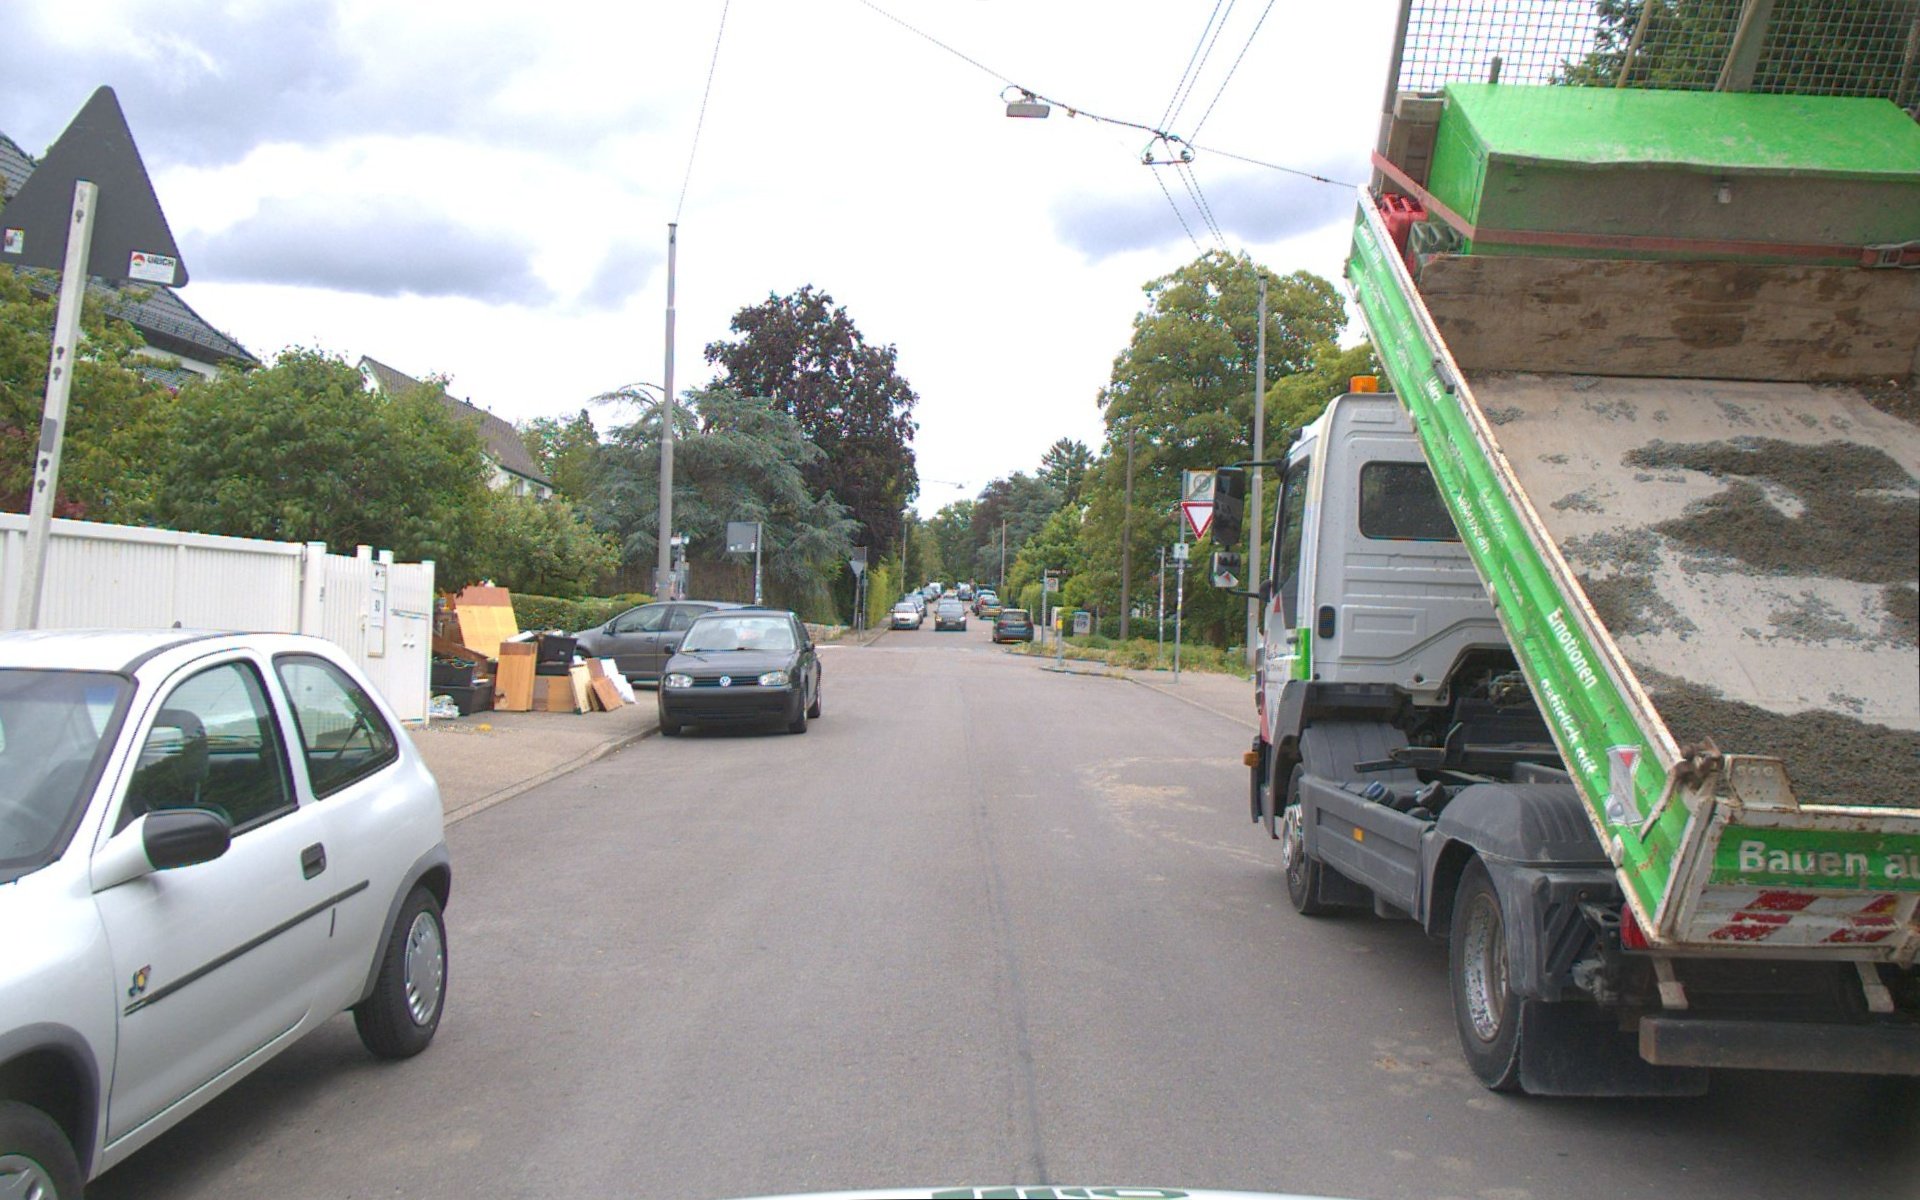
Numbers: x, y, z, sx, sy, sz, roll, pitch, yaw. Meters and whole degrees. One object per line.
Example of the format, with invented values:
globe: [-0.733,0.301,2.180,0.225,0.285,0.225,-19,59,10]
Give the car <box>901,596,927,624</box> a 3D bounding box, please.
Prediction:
car: [-2.979,0.614,107.283,1.600,1.731,3.762,2,0,-1]

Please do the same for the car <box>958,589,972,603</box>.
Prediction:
car: [0.623,-0.549,207.429,1.600,1.731,3.493,2,0,-1]

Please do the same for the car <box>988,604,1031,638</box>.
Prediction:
car: [2.277,0.963,76.806,1.743,1.515,3.999,1,0,-1]

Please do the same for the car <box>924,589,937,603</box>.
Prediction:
car: [-4.148,-0.552,232.208,1.780,1.914,3.999,3,0,-1]

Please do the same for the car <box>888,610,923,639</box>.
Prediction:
car: [-3.170,1.413,96.719,1.676,1.613,4.001,1,0,2]

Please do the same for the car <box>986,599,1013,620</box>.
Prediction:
car: [2.837,0.712,120.373,1.773,1.359,3.631,2,1,-1]

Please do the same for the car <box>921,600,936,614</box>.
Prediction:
car: [-3.547,0.782,185.149,1.593,1.410,3.597,3,0,-1]

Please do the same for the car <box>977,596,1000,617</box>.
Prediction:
car: [2.243,0.507,129.251,1.752,1.556,3.734,1,0,1]

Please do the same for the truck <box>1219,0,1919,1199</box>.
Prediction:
truck: [2.895,-0.831,6.684,2.472,4.831,7.187,2,0,0]

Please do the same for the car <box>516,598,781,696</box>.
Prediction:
car: [-5.159,0.739,27.529,3.903,1.469,1.828,1,0,16]

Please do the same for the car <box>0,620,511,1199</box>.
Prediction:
car: [-2.526,0.815,4.324,1.563,1.458,4.000,-1,0,0]

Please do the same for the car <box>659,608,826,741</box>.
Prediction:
car: [-2.561,0.828,20.270,1.604,1.419,3.987,-1,0,-2]

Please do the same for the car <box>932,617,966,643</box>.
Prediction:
car: [-0.601,1.704,94.309,1.692,1.432,3.805,1,0,4]

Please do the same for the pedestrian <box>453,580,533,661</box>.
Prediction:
pedestrian: [-7.387,0.323,26.165,0.941,1.246,0.823,2,-2,-42]
